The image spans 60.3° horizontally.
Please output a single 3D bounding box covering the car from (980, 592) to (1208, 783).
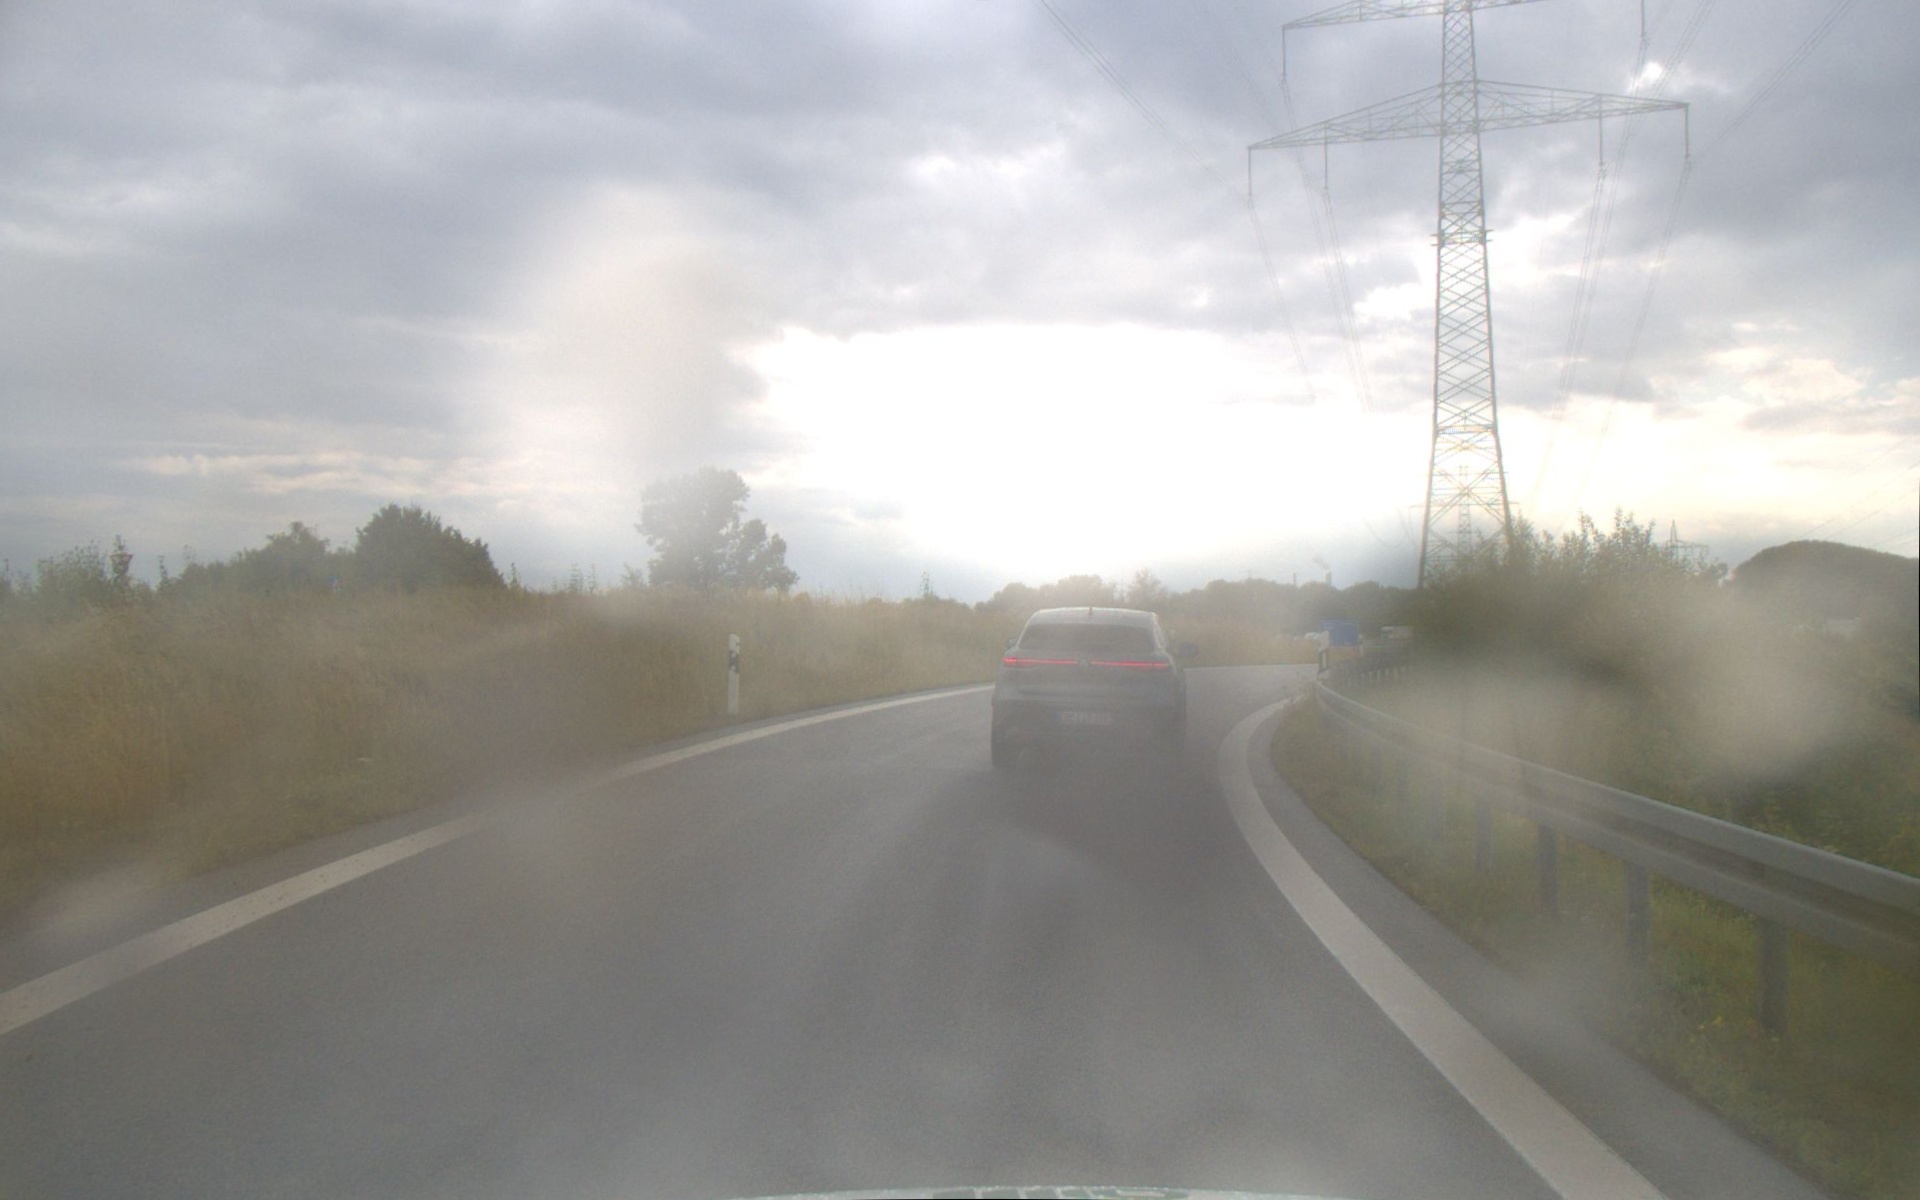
[{"bbox_3d":[1.423,0.760,16.686,1.951,1.593,4.152,2,0,7],"label":"car"}]

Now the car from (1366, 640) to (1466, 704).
[{"bbox_3d":[15.747,2.425,56.864,2.081,2.053,5.525,-1,-2,29],"label":"car"}]
